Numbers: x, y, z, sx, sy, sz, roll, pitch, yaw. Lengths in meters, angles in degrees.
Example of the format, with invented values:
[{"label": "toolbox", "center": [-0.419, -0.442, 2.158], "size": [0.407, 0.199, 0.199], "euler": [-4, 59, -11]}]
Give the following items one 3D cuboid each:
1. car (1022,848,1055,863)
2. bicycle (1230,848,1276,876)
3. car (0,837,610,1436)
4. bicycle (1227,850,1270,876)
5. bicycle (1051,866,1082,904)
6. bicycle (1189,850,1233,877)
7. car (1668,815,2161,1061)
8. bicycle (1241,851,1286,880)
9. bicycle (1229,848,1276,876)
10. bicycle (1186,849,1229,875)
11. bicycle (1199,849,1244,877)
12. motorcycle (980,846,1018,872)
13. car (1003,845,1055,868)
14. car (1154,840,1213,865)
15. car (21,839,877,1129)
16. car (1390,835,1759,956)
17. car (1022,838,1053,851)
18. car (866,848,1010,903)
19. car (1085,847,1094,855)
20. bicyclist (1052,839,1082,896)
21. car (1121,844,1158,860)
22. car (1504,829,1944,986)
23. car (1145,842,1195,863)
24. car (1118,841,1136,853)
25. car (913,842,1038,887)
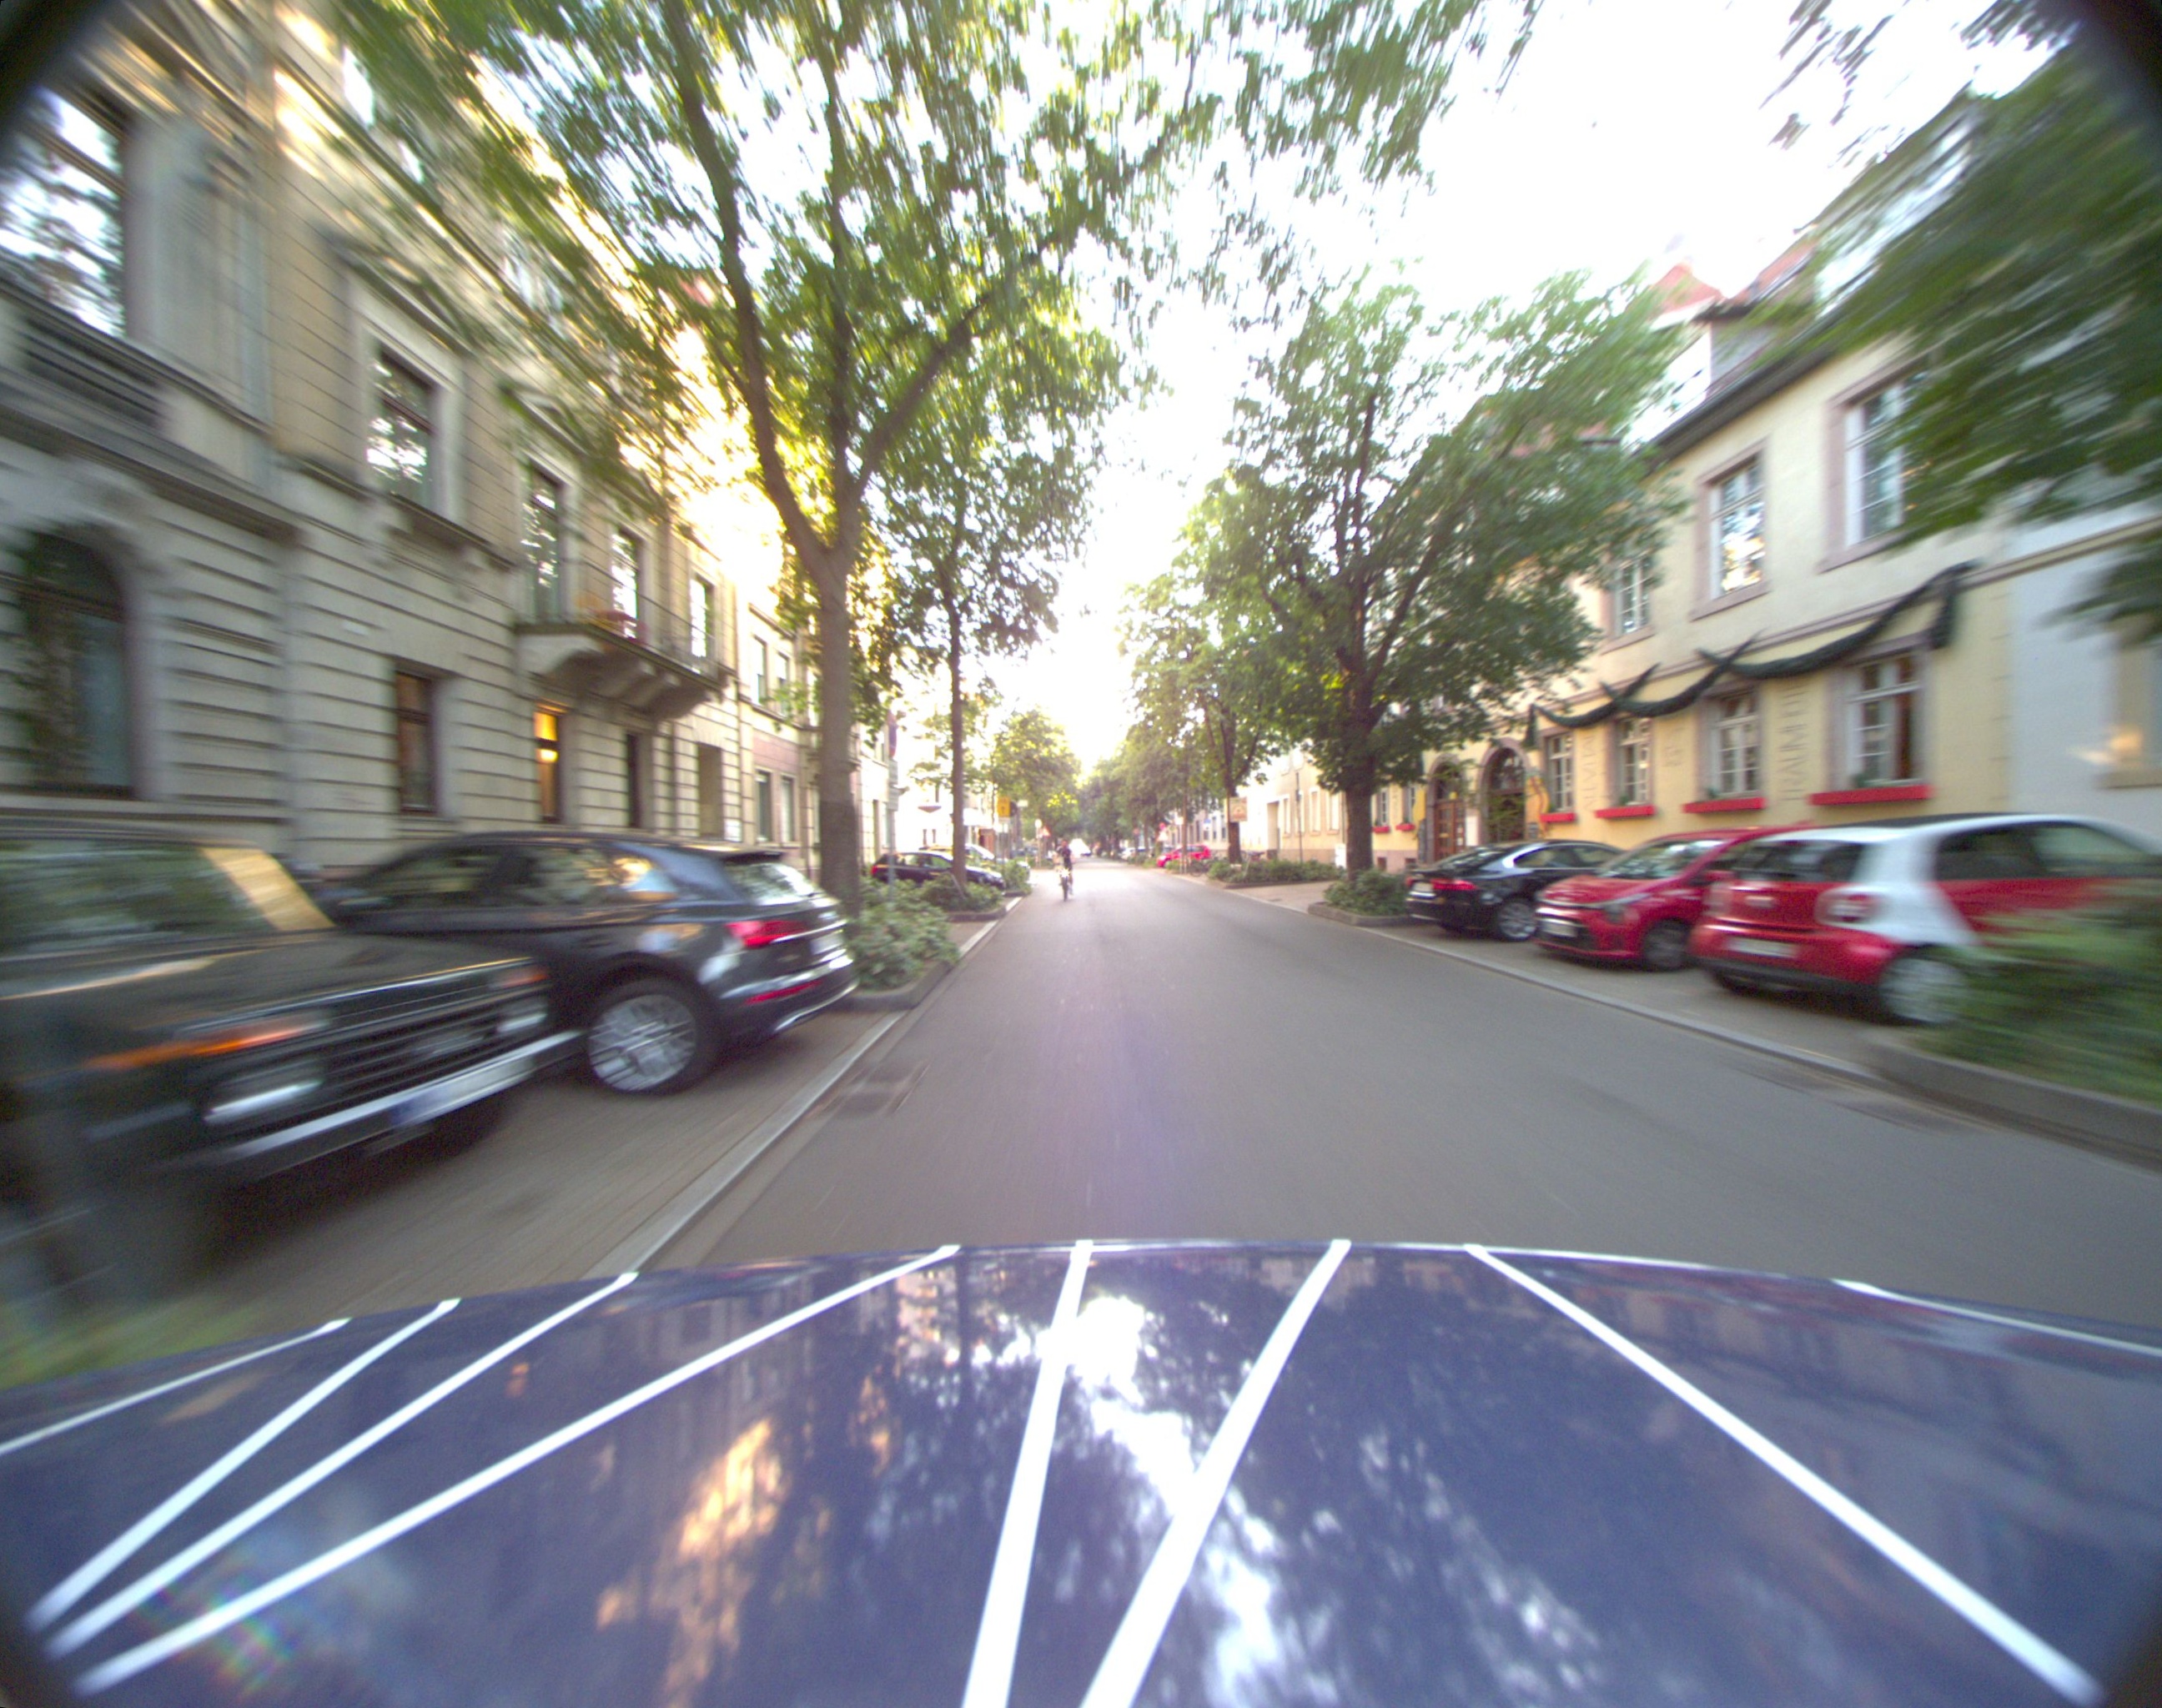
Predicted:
[{"label": "car", "center": [-4.722, 0.188, 85.355], "size": [3.552, 1.411, 1.590], "euler": [-4, 1, 0]}, {"label": "bicycle", "center": [7.533, 0.344, 33.269], "size": [1.869, 1.093, 0.509], "euler": [-3, 2, -7]}, {"label": "car", "center": [-4.433, 0.809, 2.992], "size": [4.018, 1.677, 1.765], "euler": [-1, 1, -1]}, {"label": "bicycle", "center": [7.752, 0.412, 35.201], "size": [1.869, 1.093, 0.480], "euler": [-3, 2, -7]}, {"label": "bicycle", "center": [-0.406, 0.884, 22.272], "size": [0.778, 0.967, 2.024], "euler": [-2, 1, 2]}, {"label": "bicycle", "center": [5.892, 0.415, 34.432], "size": [1.869, 1.093, 0.480], "euler": [-3, 2, -7]}, {"label": "car", "center": [7.782, 0.565, 6.346], "size": [4.365, 1.530, 1.771], "euler": [-4, 2, 0]}, {"label": "bicycle", "center": [7.467, 0.455, 31.124], "size": [1.712, 1.093, 0.480], "euler": [-3, 2, -7]}, {"label": "bicycle", "center": [7.338, 0.356, 32.557], "size": [1.869, 1.093, 0.480], "euler": [-3, 2, -7]}, {"label": "bicycle", "center": [5.816, 0.381, 34.977], "size": [1.869, 1.092, 0.480], "euler": [-3, 2, -7]}, {"label": "bicycle", "center": [6.265, 0.387, 33.795], "size": [1.869, 1.138, 0.480], "euler": [-3, 2, -7]}, {"label": "motorcycle", "center": [-5.234, 0.313, 48.573], "size": [2.248, 1.537, 0.772], "euler": [-3, 2, -16]}, {"label": "car", "center": [-4.400, 0.197, 64.502], "size": [4.166, 1.666, 1.590], "euler": [-4, 1, 0]}, {"label": "car", "center": [6.718, -0.111, 49.937], "size": [3.498, 1.397, 1.672], "euler": [-4, 1, -3]}, {"label": "car", "center": [-3.969, 0.754, 5.471], "size": [4.451, 1.708, 1.967], "euler": [0, 2, -1]}, {"label": "car", "center": [7.153, 0.541, 11.271], "size": [4.437, 1.399, 1.717], "euler": [-3, 2, -4]}, {"label": "car", "center": [-5.347, -1.168, 93.579], "size": [3.552, 1.411, 1.590], "euler": [-4, 1, 0]}, {"label": "car", "center": [-4.086, 0.599, 22.183], "size": [3.876, 1.419, 1.781], "euler": [2, 0, -2]}, {"label": "car", "center": [1.713, -0.632, 159.076], "size": [1.673, 1.411, 3.554], "euler": [-4, 1, 0]}, {"label": "bicyclist", "center": [-0.410, 0.379, 22.255], "size": [0.753, 1.612, 1.147], "euler": [-2, 1, 2]}, {"label": "car", "center": [5.961, -0.214, 77.086], "size": [3.552, 1.411, 1.590], "euler": [-4, 1, 0]}, {"label": "car", "center": [7.259, 0.552, 8.848], "size": [3.693, 1.441, 1.659], "euler": [-4, 1, 0]}, {"label": "car", "center": [6.863, -0.123, 58.662], "size": [3.553, 1.411, 1.590], "euler": [-4, 1, -3]}, {"label": "car", "center": [5.920, -0.957, 98.421], "size": [1.999, 1.368, 3.998], "euler": [-2, 2, -1]}, {"label": "car", "center": [-4.055, 0.398, 29.562], "size": [4.420, 1.552, 1.867], "euler": [2, 0, 6]}]
